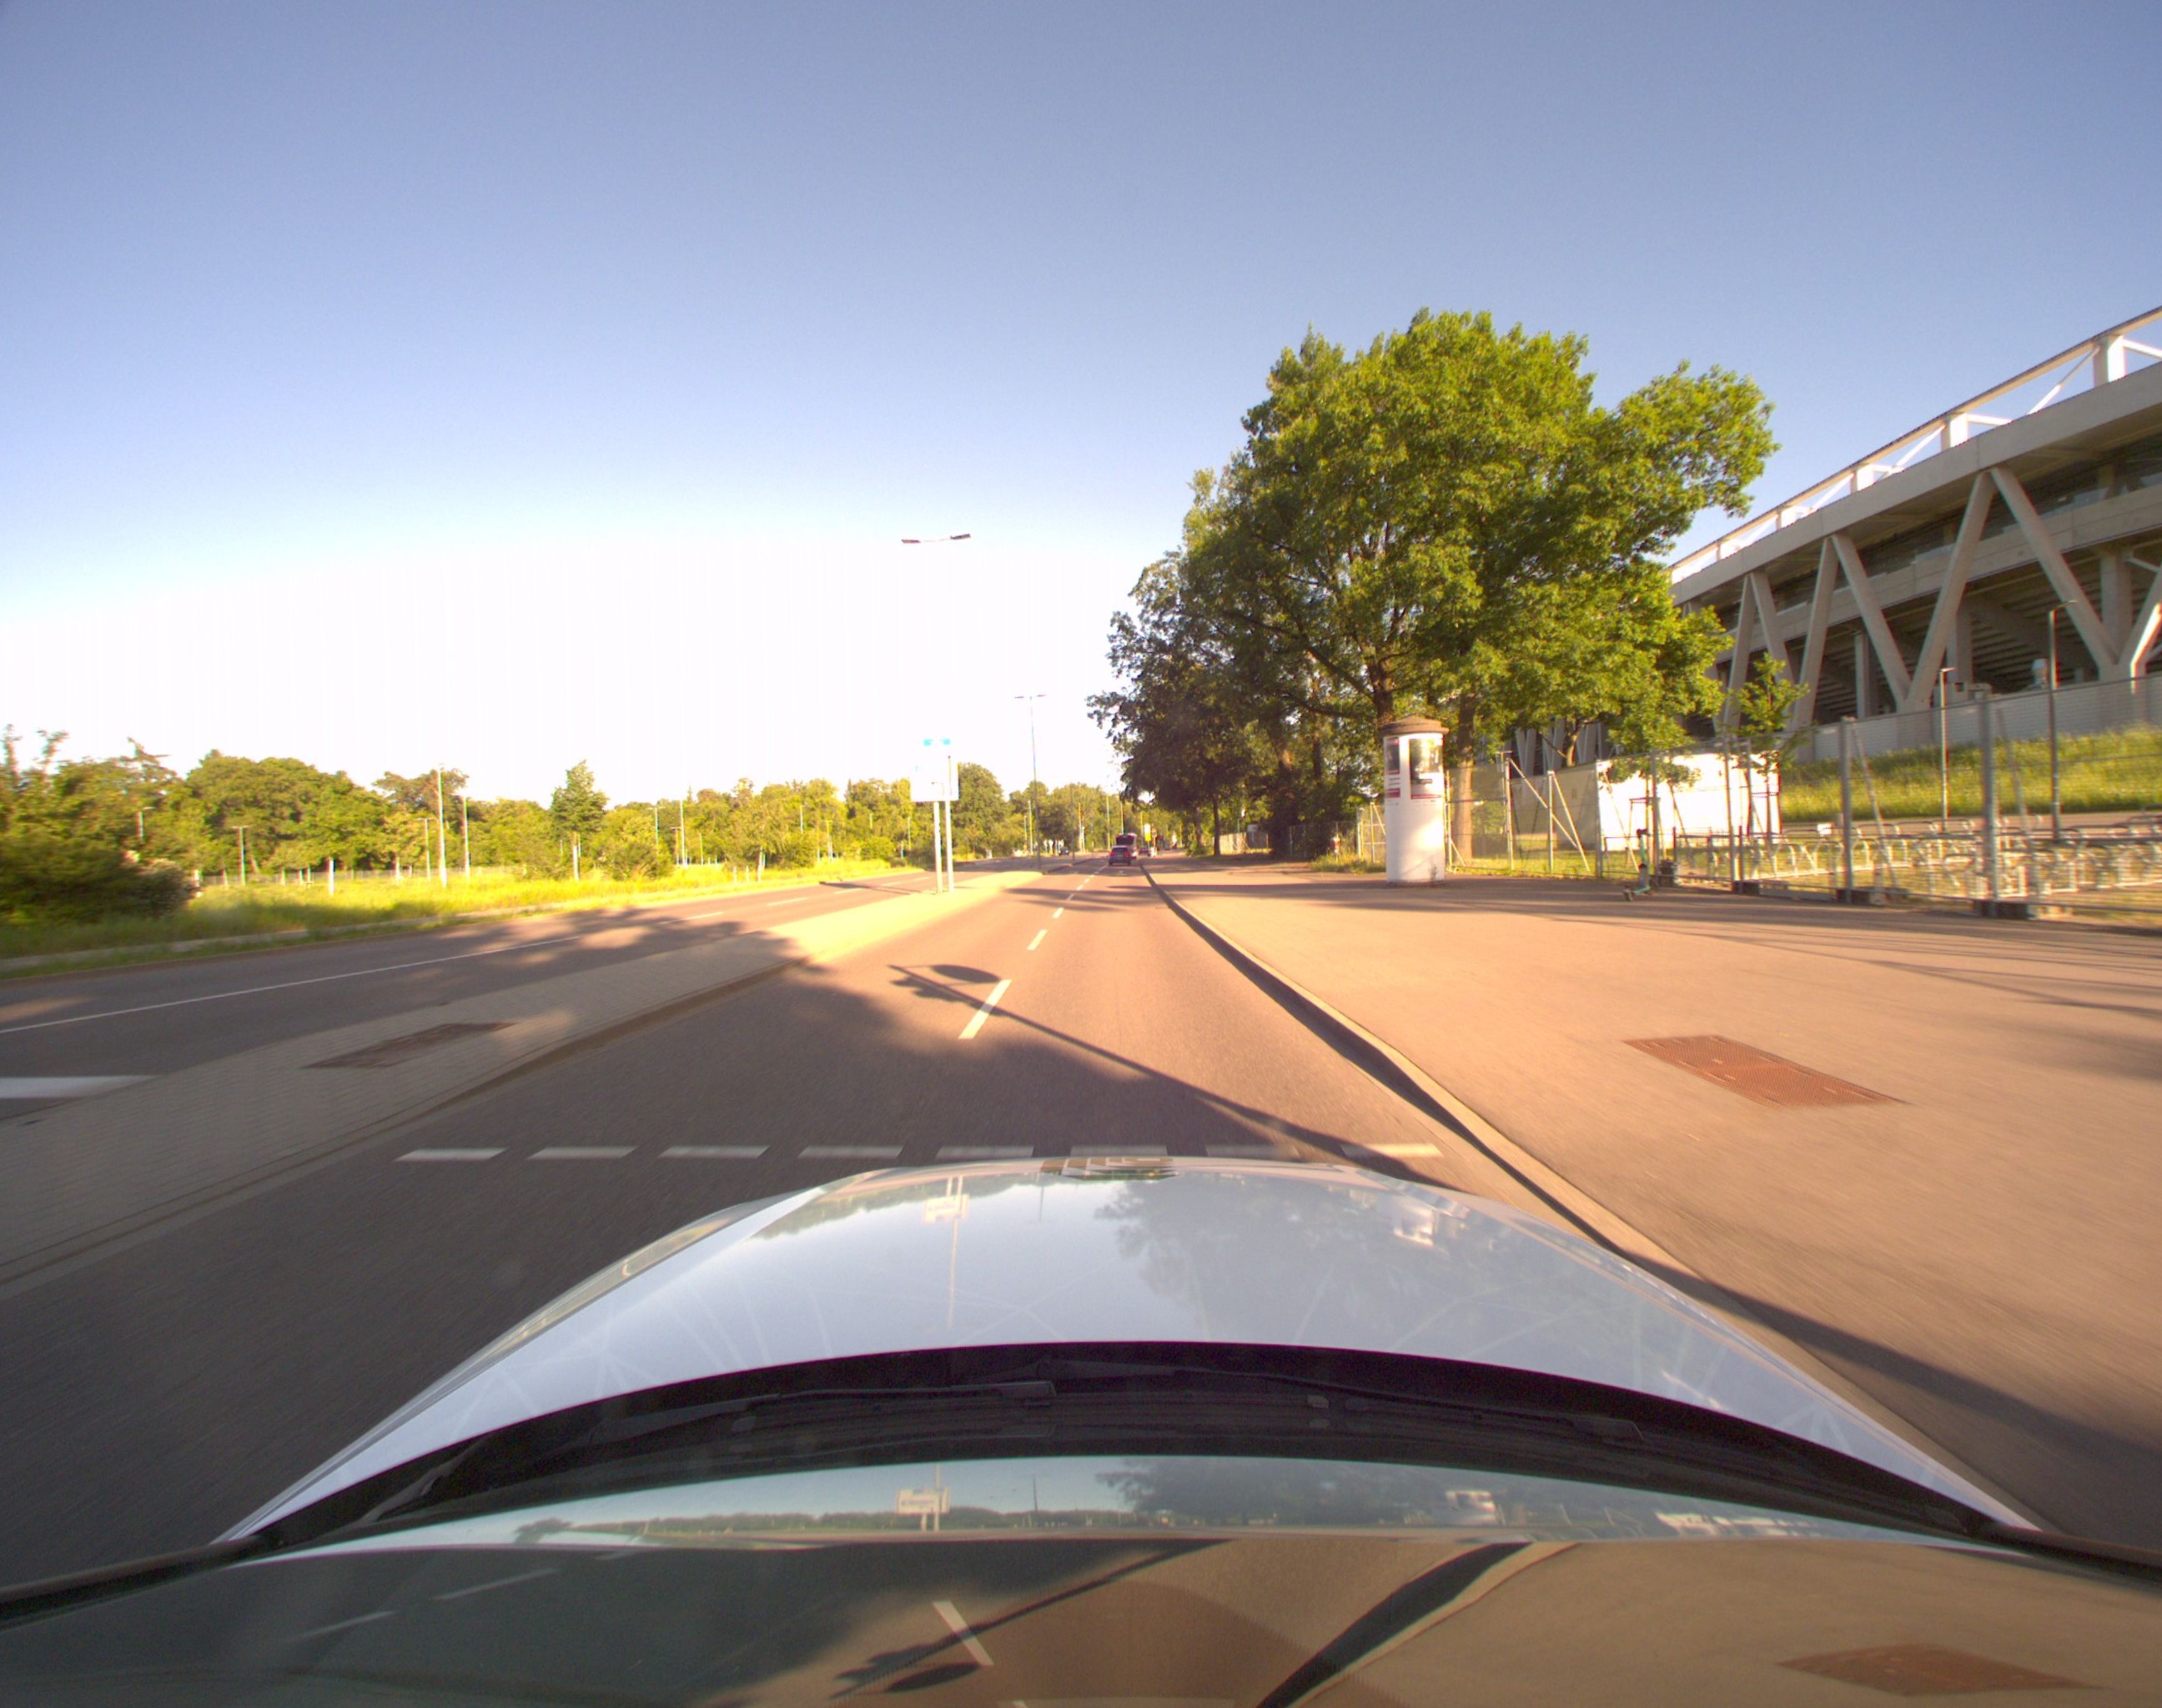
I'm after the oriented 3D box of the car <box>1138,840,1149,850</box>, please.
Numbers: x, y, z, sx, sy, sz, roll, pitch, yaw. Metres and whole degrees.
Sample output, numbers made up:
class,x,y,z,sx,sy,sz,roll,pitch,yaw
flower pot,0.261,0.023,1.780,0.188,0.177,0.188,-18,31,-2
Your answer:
class,x,y,z,sx,sy,sz,roll,pitch,yaw
car,11.843,-1.723,154.174,1.854,1.683,3.779,-3,1,6

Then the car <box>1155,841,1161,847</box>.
class,x,y,z,sx,sy,sz,roll,pitch,yaw
car,19.897,-2.567,210.844,1.586,1.605,3.587,-1,1,3

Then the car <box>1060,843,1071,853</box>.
class,x,y,z,sx,sy,sz,roll,pitch,yaw
car,-2.969,-1.198,155.733,1.856,1.683,3.774,-3,1,1

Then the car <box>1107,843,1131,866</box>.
class,x,y,z,sx,sy,sz,roll,pitch,yaw
car,3.227,-0.003,69.195,1.873,1.765,4.002,-3,2,2

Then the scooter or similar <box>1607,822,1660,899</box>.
class,x,y,z,sx,sy,sz,roll,pitch,yaw
scooter or similar,9.701,0.092,14.282,0.562,1.256,1.610,-2,1,40

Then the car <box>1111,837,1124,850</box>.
class,x,y,z,sx,sy,sz,roll,pitch,yaw
car,5.624,-1.634,125.071,1.873,1.765,4.002,-3,2,2

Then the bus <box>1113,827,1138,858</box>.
class,x,y,z,sx,sy,sz,roll,pitch,yaw
bus,5.189,-1.430,96.389,2.595,3.368,7.979,-2,2,2

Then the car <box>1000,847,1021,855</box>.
class,x,y,z,sx,sy,sz,roll,pitch,yaw
car,-14.413,-0.582,166.246,3.689,1.354,1.721,-4,2,-30
